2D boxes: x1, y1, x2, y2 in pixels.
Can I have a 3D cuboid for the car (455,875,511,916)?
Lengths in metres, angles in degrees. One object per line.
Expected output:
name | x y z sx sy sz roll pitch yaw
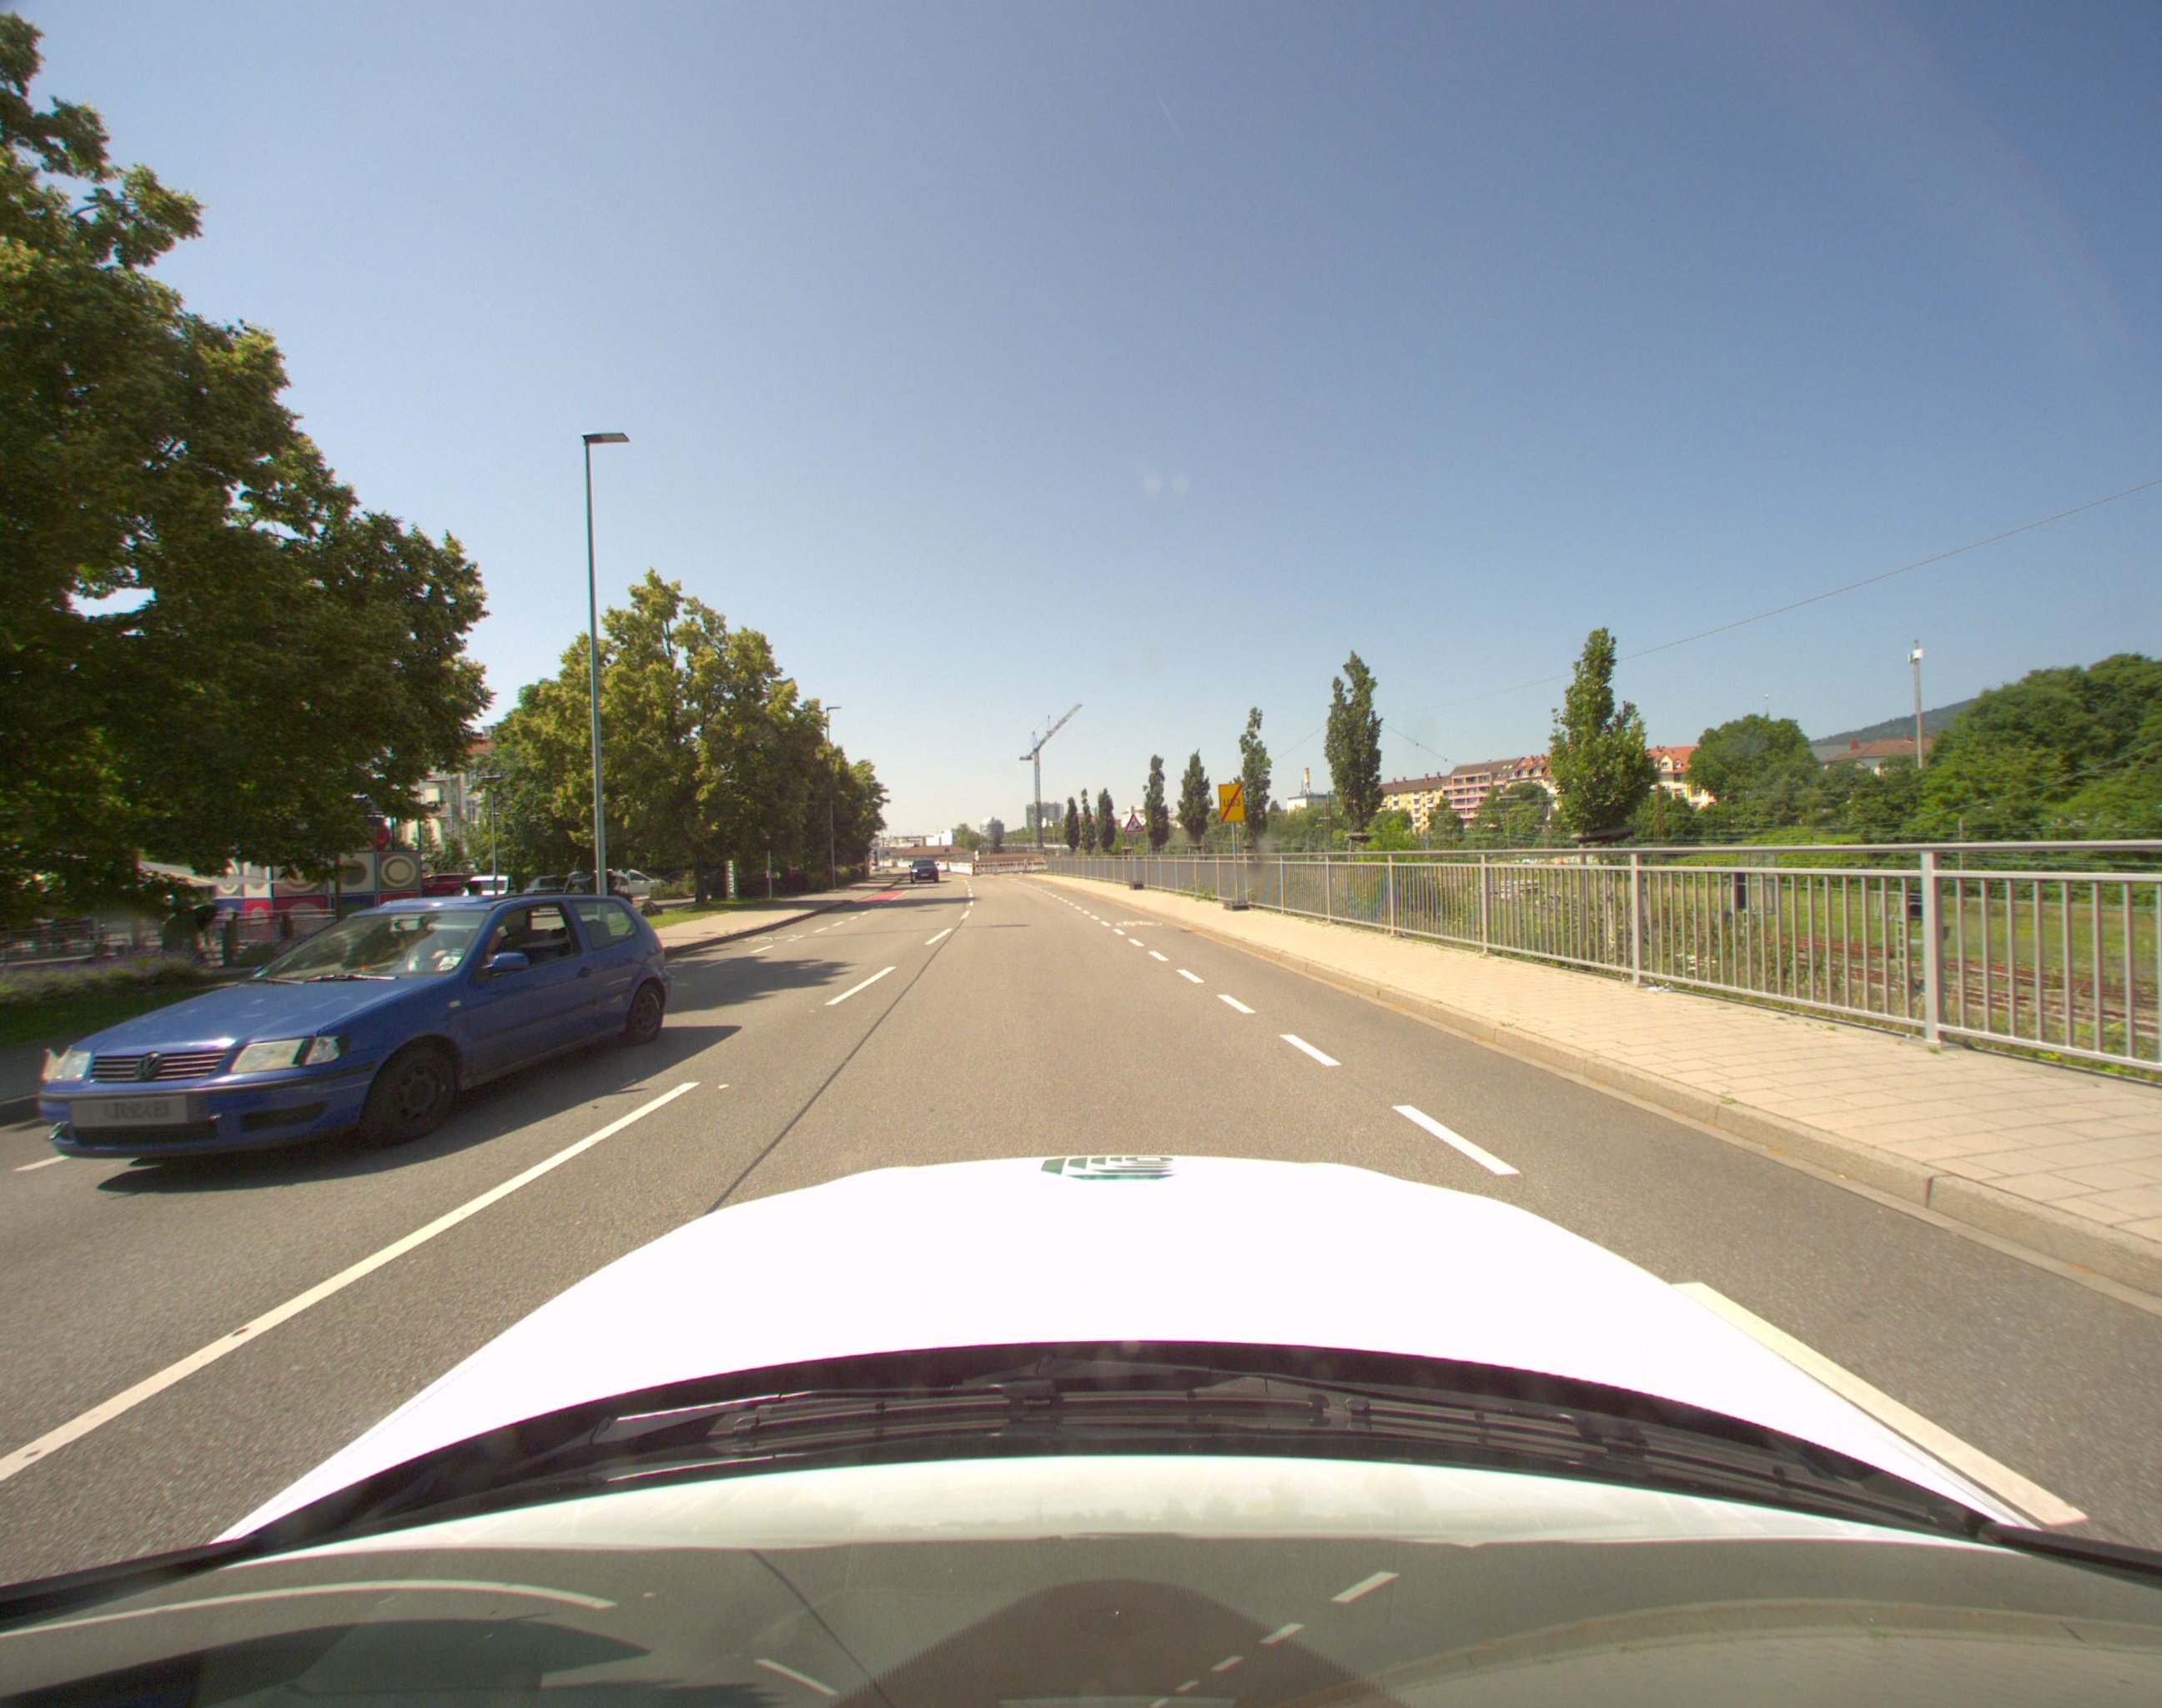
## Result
car | -28.463 1.939 38.872 1.724 1.735 4.206 -3 0 -31

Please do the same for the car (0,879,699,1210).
car | -4.584 0.983 5.929 1.651 1.381 3.999 -2 0 0

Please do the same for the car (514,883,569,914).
car | -25.218 2.043 38.037 1.617 1.285 3.952 -3 0 -41

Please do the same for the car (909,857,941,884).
car | -10.842 1.086 56.486 1.952 1.695 4.592 -3 0 -13

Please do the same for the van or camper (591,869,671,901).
van or camper | -28.287 1.905 51.383 4.294 1.740 1.982 -3 0 -27

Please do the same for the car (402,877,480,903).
car | -45.975 2.567 58.608 4.002 1.598 1.786 -3 0 -22

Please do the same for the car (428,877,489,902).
car | -40.953 2.331 53.553 3.393 1.526 1.509 -2 0 19

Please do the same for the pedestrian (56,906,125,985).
pedestrian | -26.787 2.462 22.038 0.831 2.013 0.751 -2 0 -5

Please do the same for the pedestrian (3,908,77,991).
pedestrian | -26.897 2.437 21.057 0.831 2.013 0.751 -2 0 -5
